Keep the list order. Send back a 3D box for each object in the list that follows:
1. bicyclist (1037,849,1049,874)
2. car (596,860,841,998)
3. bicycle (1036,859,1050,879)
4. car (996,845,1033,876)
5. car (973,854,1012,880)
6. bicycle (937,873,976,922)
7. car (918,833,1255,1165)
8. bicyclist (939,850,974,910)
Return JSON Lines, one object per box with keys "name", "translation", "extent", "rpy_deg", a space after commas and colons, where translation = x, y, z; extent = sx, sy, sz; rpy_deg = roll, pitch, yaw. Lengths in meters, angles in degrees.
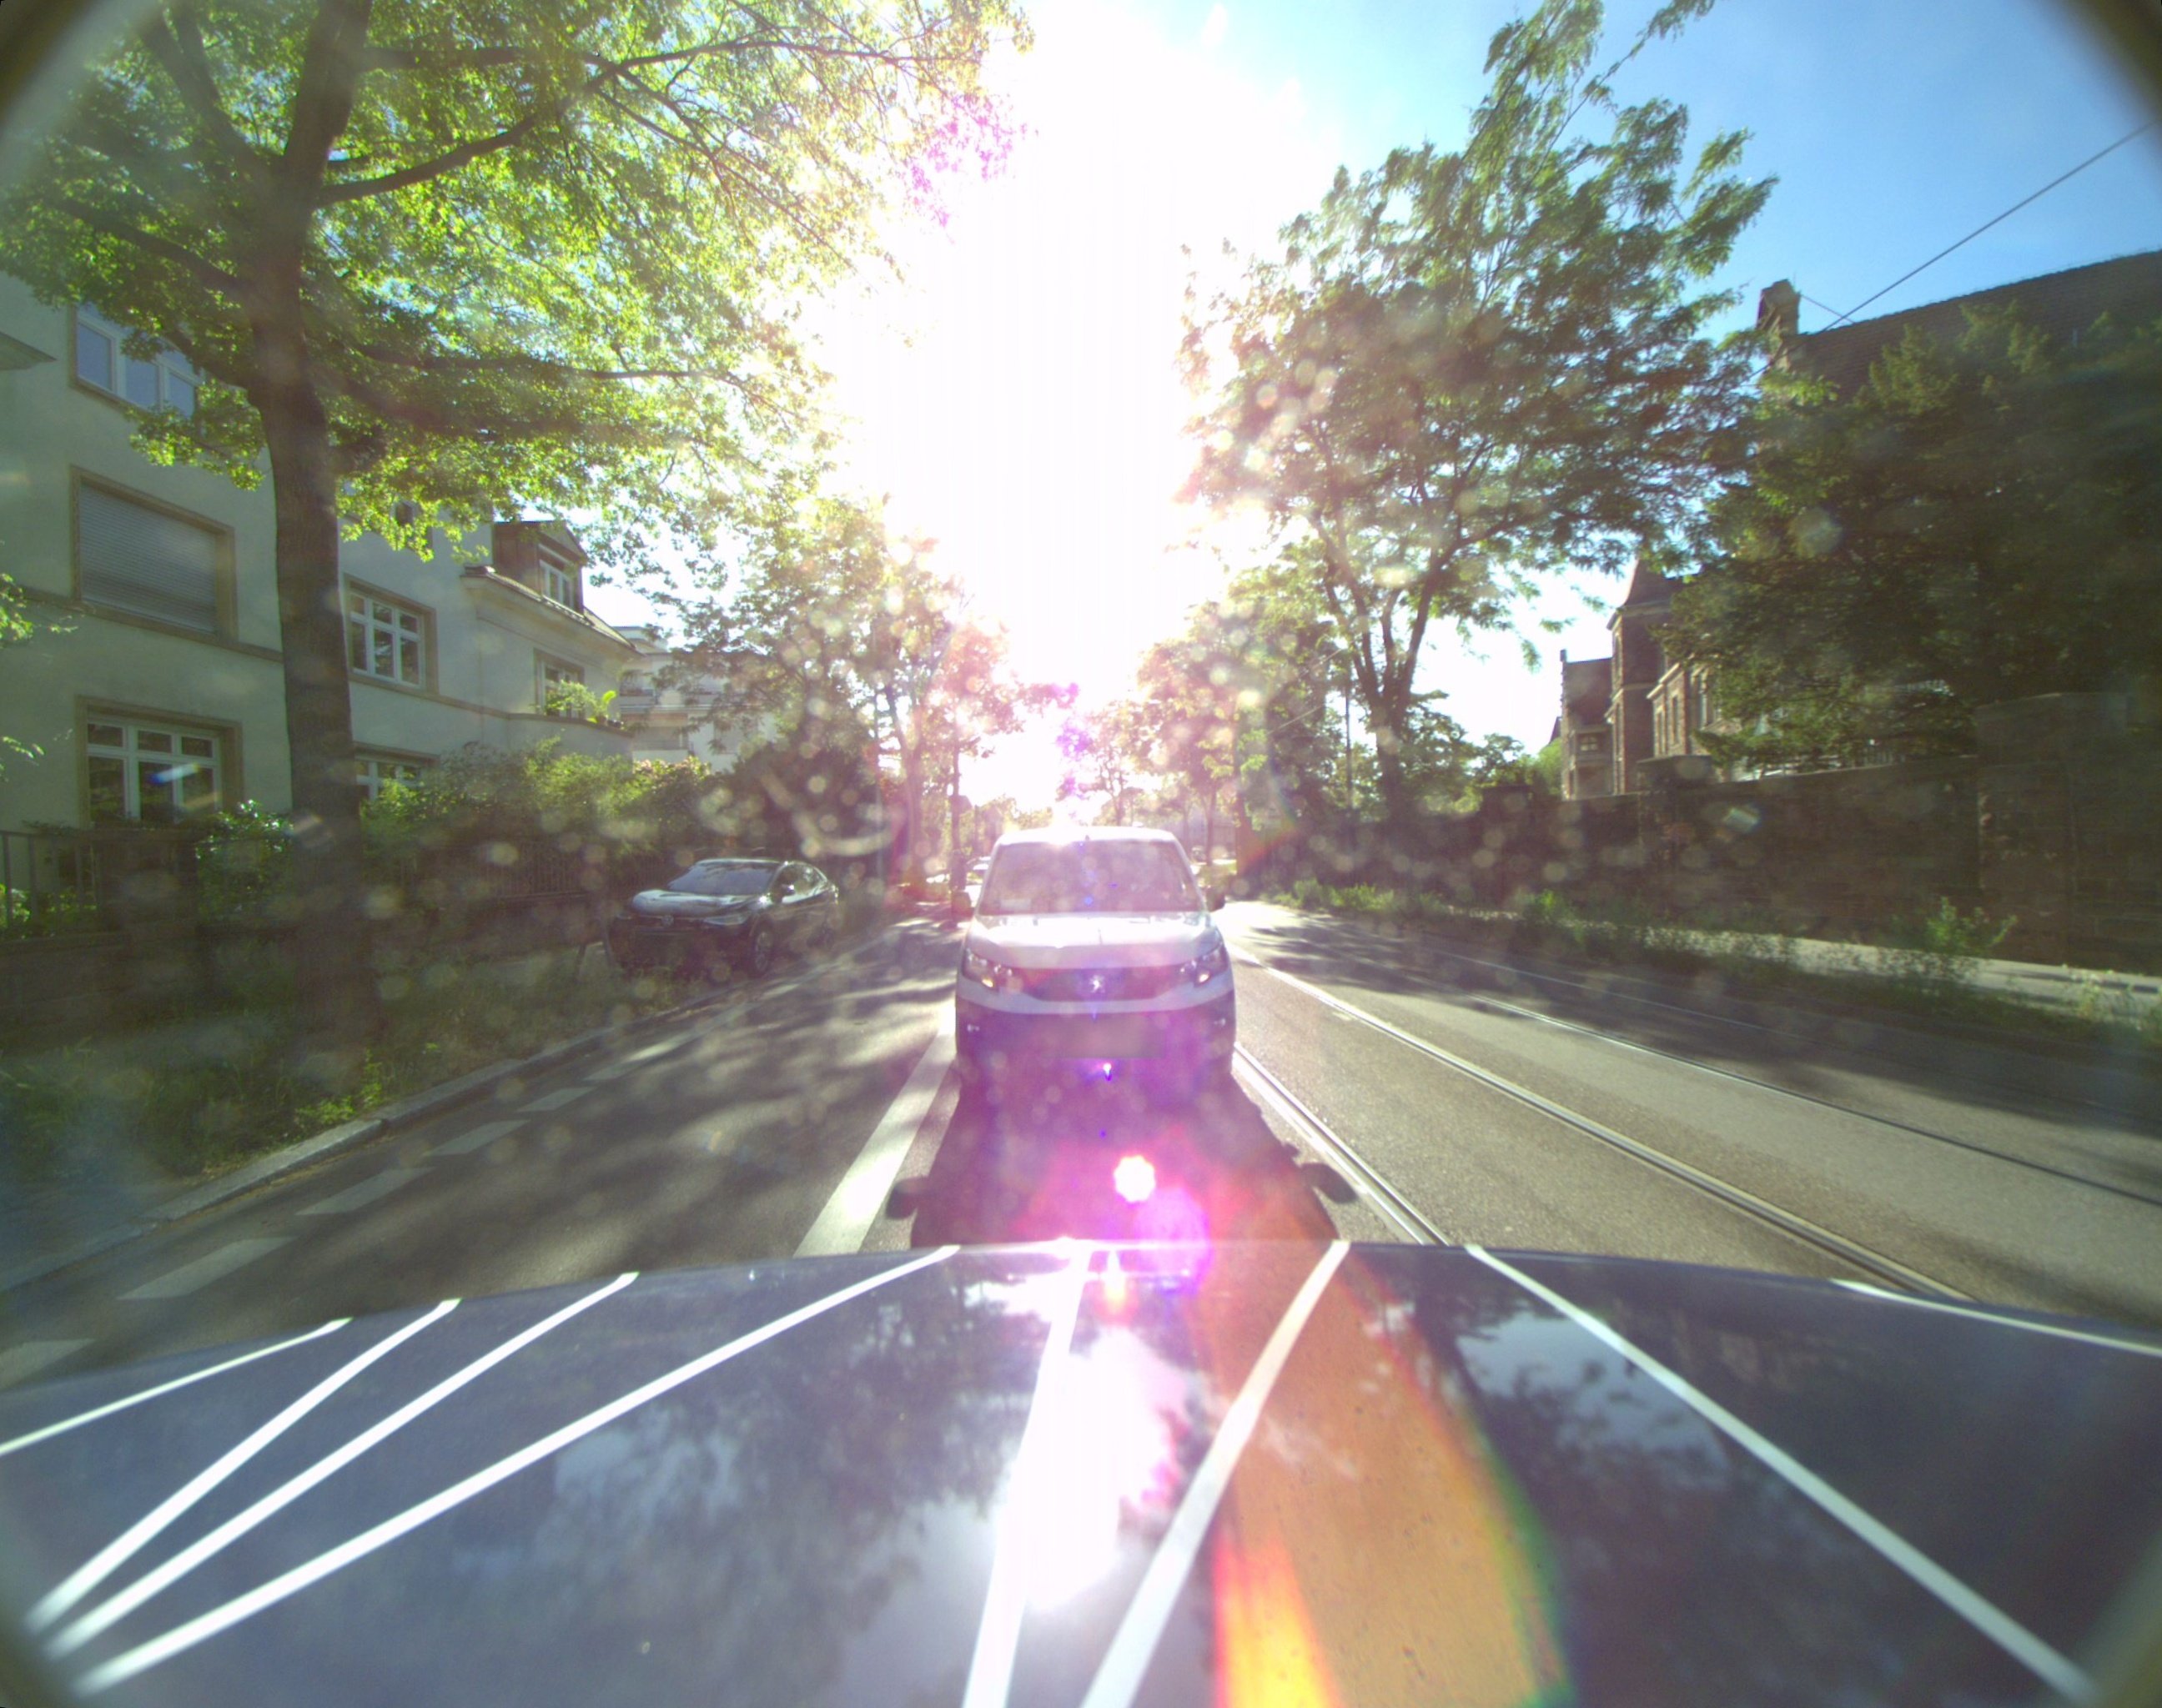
{"name": "bicyclist", "translation": [-2.278, 0.457, 45.460], "extent": [0.623, 1.479, 1.115], "rpy_deg": [-2, 1, 1]}
{"name": "car", "translation": [-5.141, 0.950, 11.469], "extent": [1.744, 1.597, 4.091], "rpy_deg": [2, 0, -1]}
{"name": "bicycle", "translation": [-2.262, 0.878, 45.455], "extent": [0.644, 1.137, 1.815], "rpy_deg": [-2, 0, 1]}
{"name": "car", "translation": [-4.498, 0.436, 51.933], "extent": [1.998, 2.002, 4.583], "rpy_deg": [-2, 0, 1]}
{"name": "car", "translation": [-5.250, 0.757, 45.467], "extent": [1.787, 1.443, 4.000], "rpy_deg": [-2, 0, 1]}
{"name": "bicycle", "translation": [-3.183, 1.101, 19.604], "extent": [0.644, 1.137, 1.902], "rpy_deg": [-2, 0, 1]}
{"name": "car", "translation": [0.047, 0.789, 6.539], "extent": [1.793, 1.770, 4.786], "rpy_deg": [-2, 0, 0]}
{"name": "bicyclist", "translation": [-3.196, 0.651, 19.606], "extent": [0.645, 1.479, 1.115], "rpy_deg": [-2, 1, 1]}
